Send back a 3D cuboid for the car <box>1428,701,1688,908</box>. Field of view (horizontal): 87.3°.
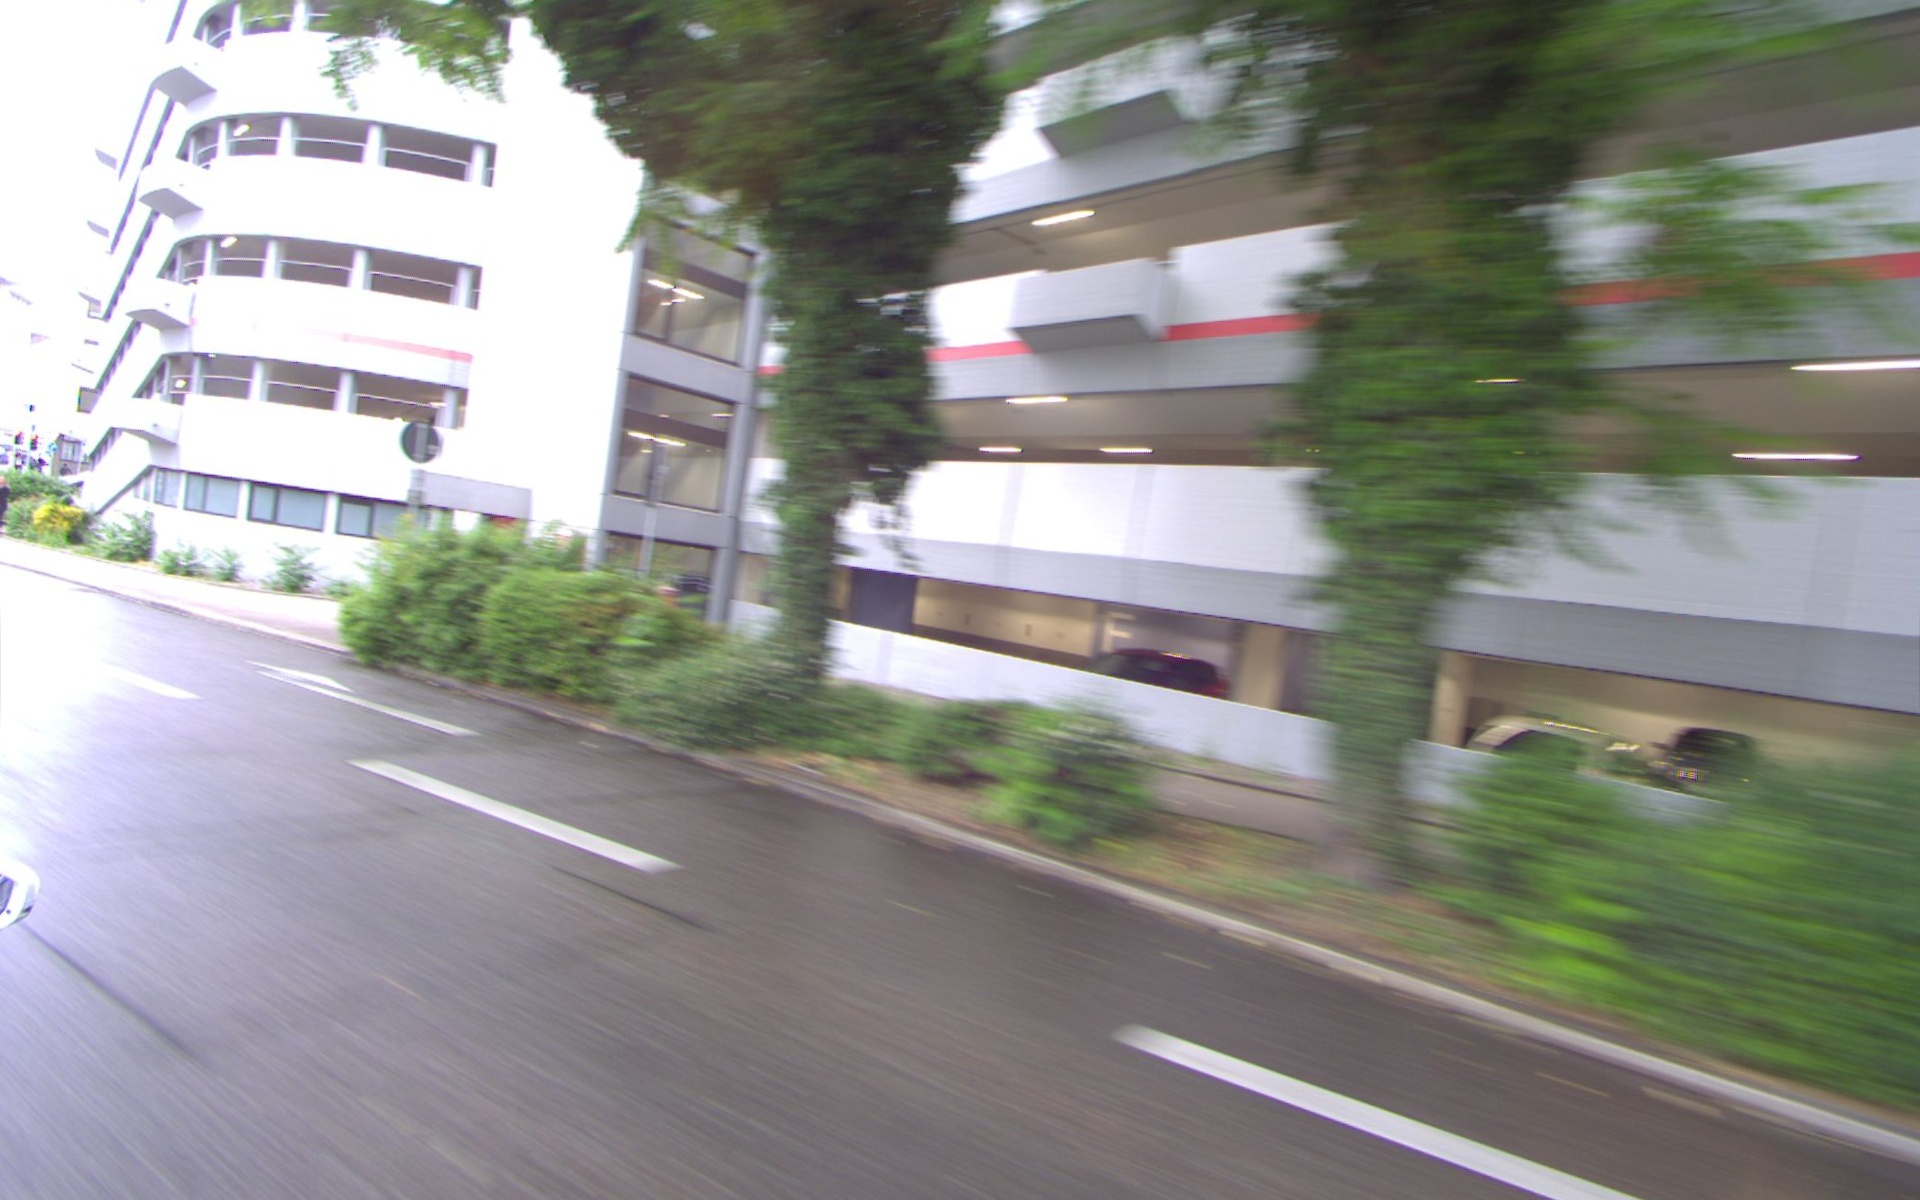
[{"bbox_3d":[7.177,2.272,11.934,1.792,1.804,3.448,7,0,43],"label":"car"}]

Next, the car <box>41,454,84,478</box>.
[{"bbox_3d":[-88.656,-13.208,99.401,1.974,1.727,3.975,6,1,-25],"label":"car"}]

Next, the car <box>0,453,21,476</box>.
[{"bbox_3d":[-81.606,-11.600,85.029,1.974,1.727,3.975,6,1,-25],"label":"car"}]

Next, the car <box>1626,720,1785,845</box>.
[{"bbox_3d":[14.026,3.310,18.841,1.792,1.804,3.979,7,0,43],"label":"car"}]

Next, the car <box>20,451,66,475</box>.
[{"bbox_3d":[-86.280,-12.843,94.690,1.974,1.727,3.975,6,1,-25],"label":"car"}]

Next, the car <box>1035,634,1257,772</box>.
[{"bbox_3d":[3.086,1.665,16.314,1.792,1.804,3.448,7,0,43],"label":"car"}]

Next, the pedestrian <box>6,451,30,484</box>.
[{"bbox_3d":[-65.405,-9.204,69.856,0.931,2.156,0.856,8,2,26],"label":"pedestrian"}]

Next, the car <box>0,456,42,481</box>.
[{"bbox_3d":[-83.790,-11.703,89.423,1.974,1.727,3.975,6,1,-25],"label":"car"}]

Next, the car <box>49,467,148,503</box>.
[{"bbox_3d":[-51.878,-6.914,60.627,1.831,1.458,4.180,8,1,38],"label":"car"}]

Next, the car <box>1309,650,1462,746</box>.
[{"bbox_3d":[9.798,2.261,22.993,1.792,1.804,3.979,7,0,43],"label":"car"}]

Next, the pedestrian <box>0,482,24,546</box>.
[{"bbox_3d":[-27.349,-2.471,28.731,0.638,1.730,0.469,7,-1,-23],"label":"pedestrian"}]
